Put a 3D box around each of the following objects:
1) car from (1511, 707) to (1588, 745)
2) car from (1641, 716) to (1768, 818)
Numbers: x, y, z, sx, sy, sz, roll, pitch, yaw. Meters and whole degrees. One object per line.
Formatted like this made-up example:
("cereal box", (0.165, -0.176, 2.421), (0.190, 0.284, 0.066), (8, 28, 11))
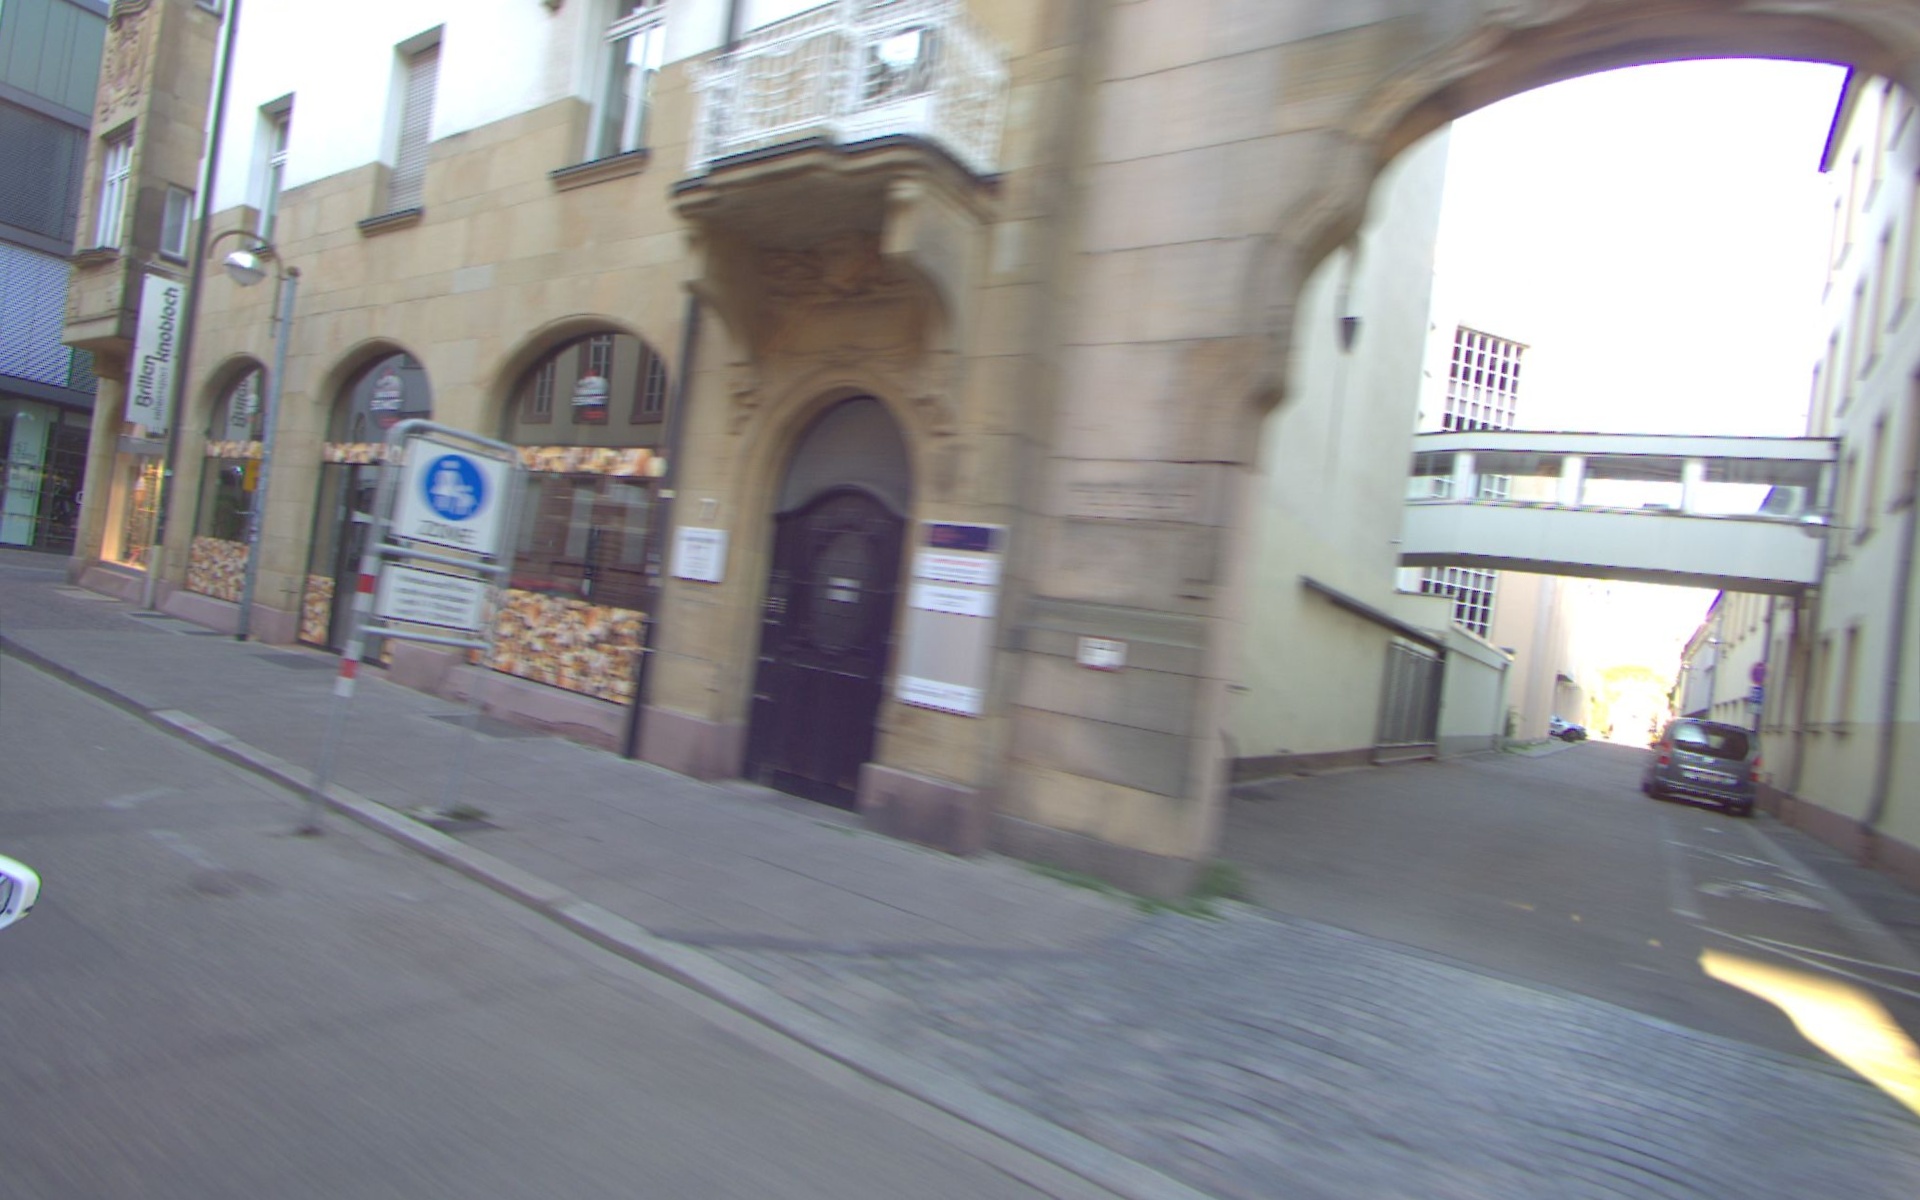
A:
("car", (35.089, 7.483, 59.983), (3.745, 1.637, 1.588), (7, -1, 29))
("car", (15.930, 3.509, 21.703), (1.760, 1.715, 3.804), (7, -2, 33))
